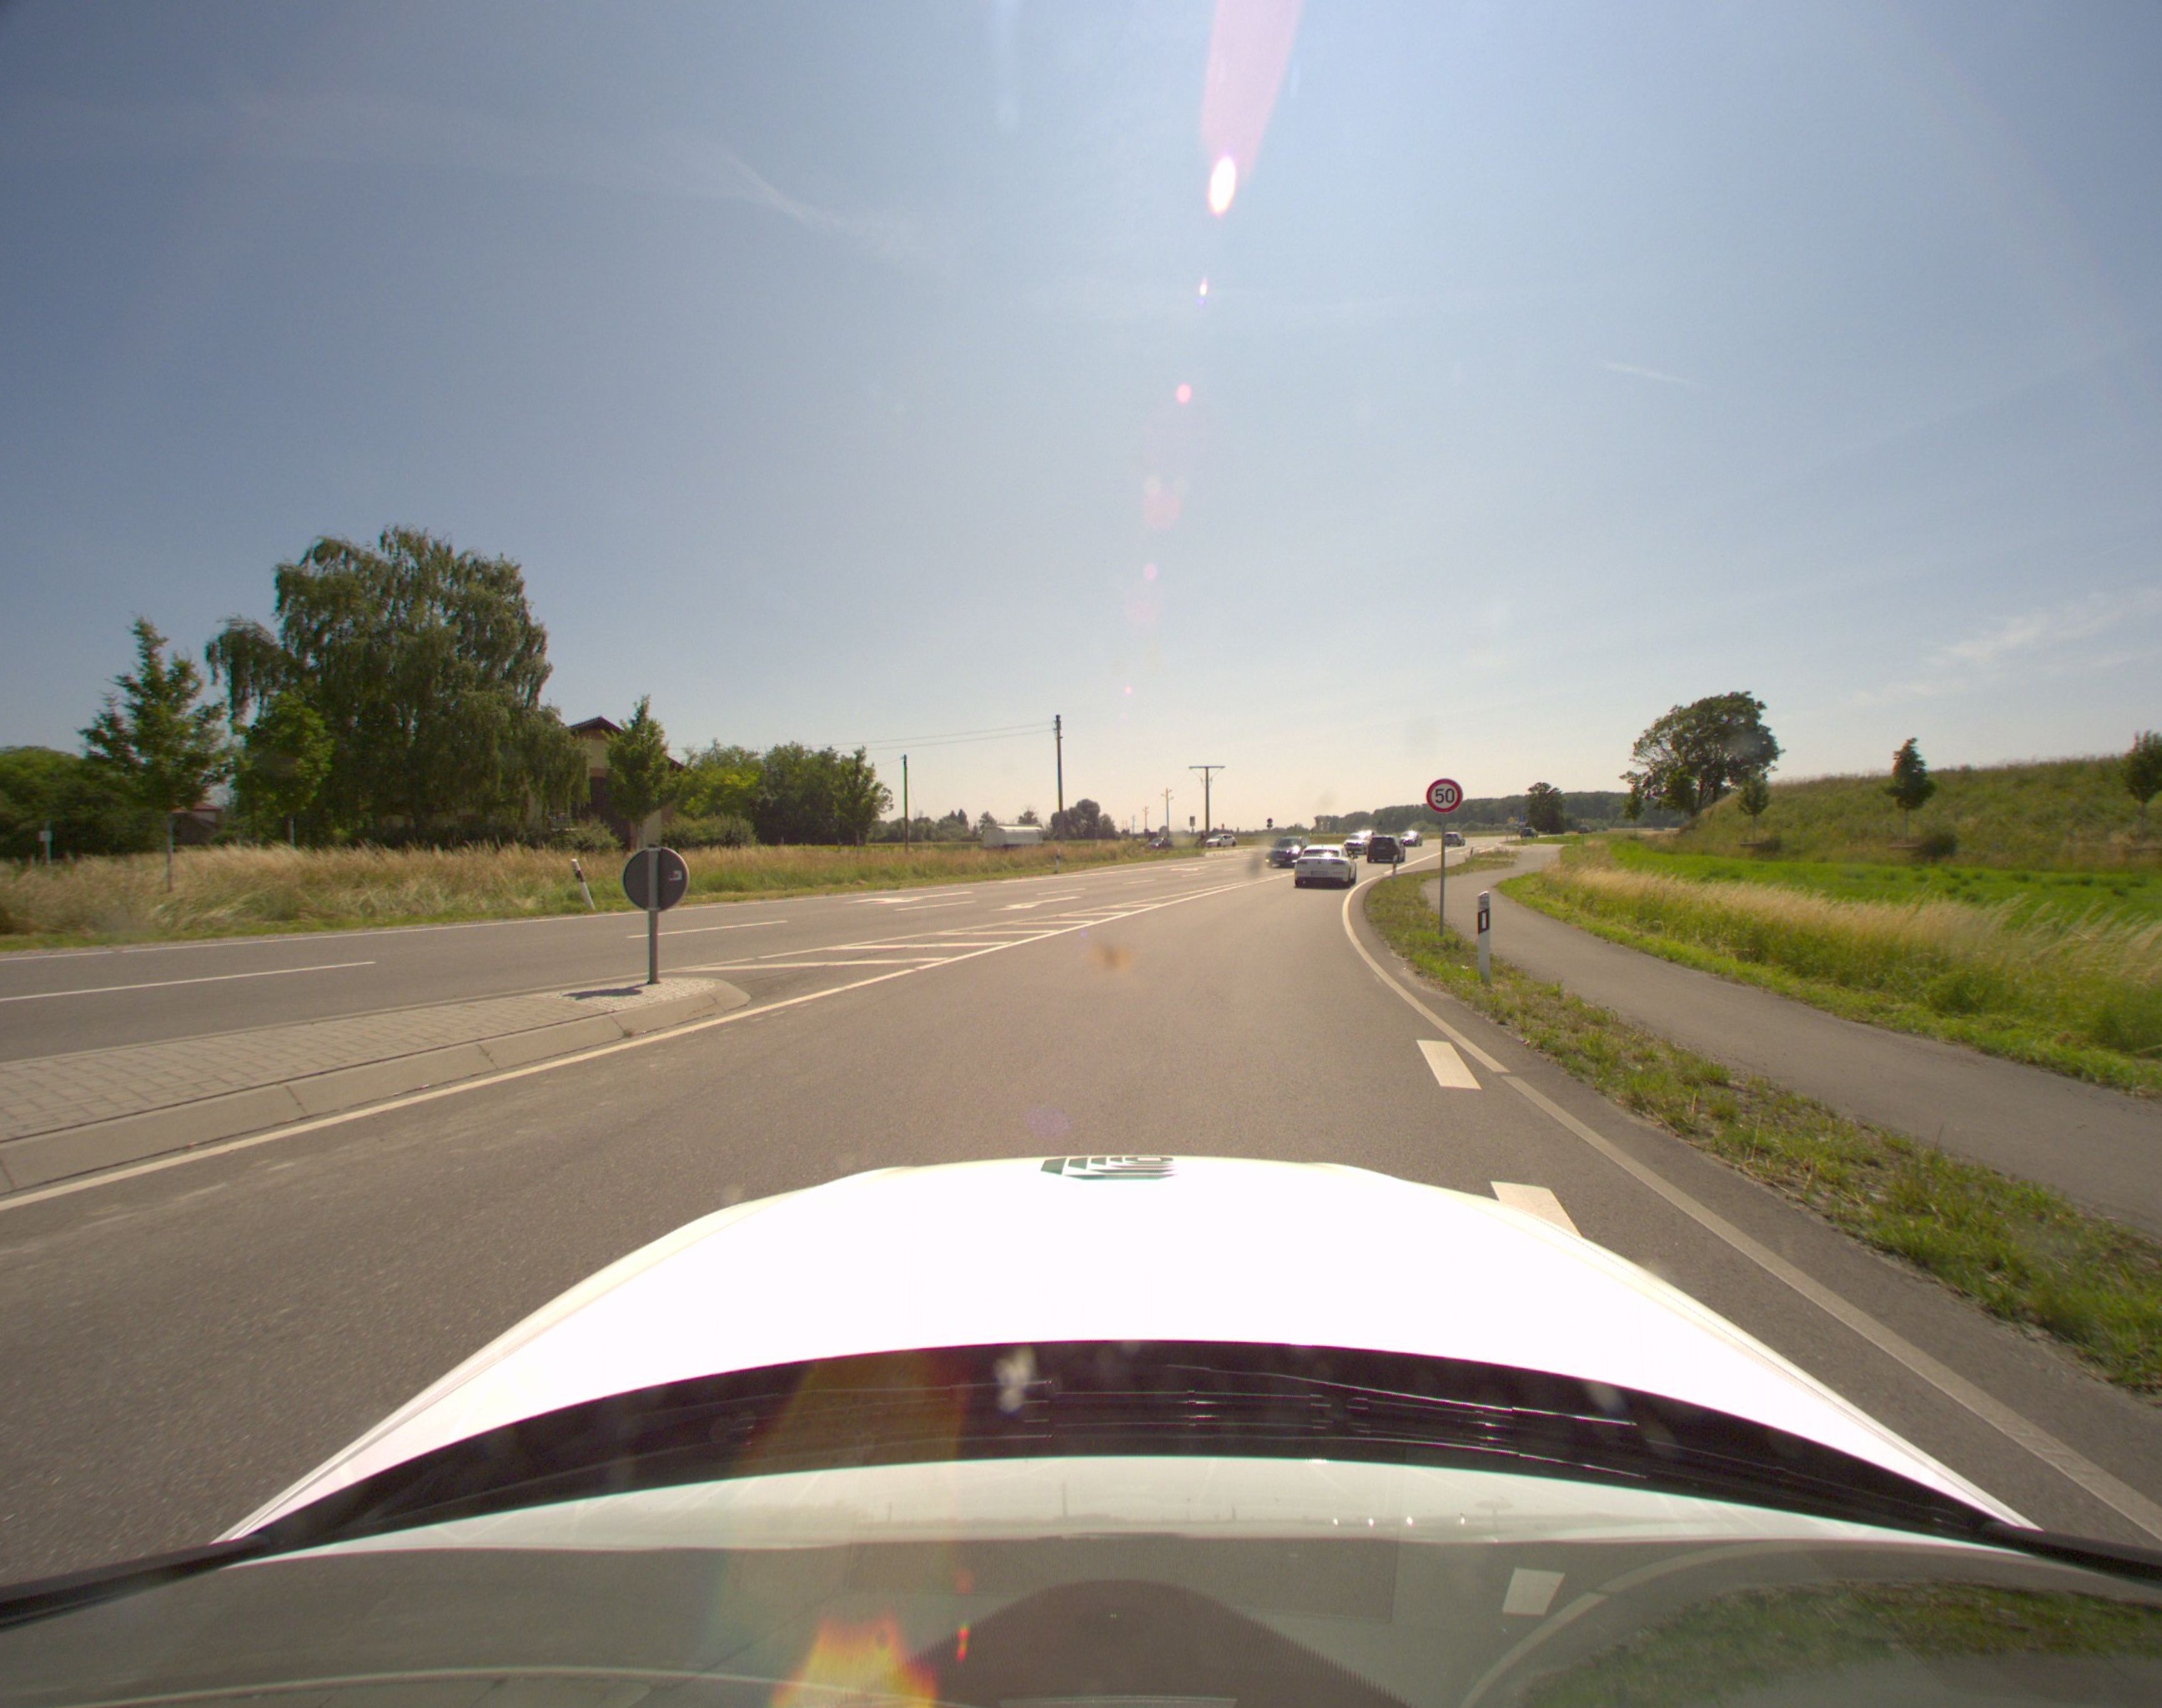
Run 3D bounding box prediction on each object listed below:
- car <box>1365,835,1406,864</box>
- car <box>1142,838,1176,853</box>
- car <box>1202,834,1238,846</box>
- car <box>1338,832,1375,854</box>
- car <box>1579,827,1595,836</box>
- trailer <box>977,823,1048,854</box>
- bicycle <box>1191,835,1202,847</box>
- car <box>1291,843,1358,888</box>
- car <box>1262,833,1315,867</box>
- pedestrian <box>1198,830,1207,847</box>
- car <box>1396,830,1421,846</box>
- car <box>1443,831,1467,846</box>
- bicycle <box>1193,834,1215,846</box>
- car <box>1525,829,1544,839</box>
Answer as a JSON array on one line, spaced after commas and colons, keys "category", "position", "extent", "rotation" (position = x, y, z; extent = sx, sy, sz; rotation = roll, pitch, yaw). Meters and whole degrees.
[{"category": "car", "position": [18.770, -0.258, 50.041], "extent": [1.917, 1.616, 4.404], "rotation": [-1, -1, 26]}, {"category": "car", "position": [7.999, -0.928, 83.163], "extent": [1.657, 1.387, 3.864], "rotation": [1, 3, 36]}, {"category": "car", "position": [16.141, -1.641, 94.531], "extent": [4.055, 1.332, 1.678], "rotation": [-1, 2, -36]}, {"category": "car", "position": [22.062, -0.917, 65.013], "extent": [1.860, 1.650, 4.874], "rotation": [1, 2, 30]}, {"category": "car", "position": [95.910, -4.299, 154.281], "extent": [1.782, 1.522, 3.906], "rotation": [-4, -1, 43]}, {"category": "trailer", "position": [-5.618, -1.345, 67.956], "extent": [2.652, 2.455, 6.424], "rotation": [1, 2, 32]}, {"category": "bicycle", "position": [12.250, -1.374, 86.427], "extent": [0.486, 1.248, 1.520], "rotation": [1, 1, 36]}, {"category": "car", "position": [8.690, 0.342, 28.810], "extent": [1.832, 1.433, 4.633], "rotation": [1, 1, 22]}, {"category": "car", "position": [11.169, -0.260, 43.680], "extent": [1.848, 1.650, 4.353], "rotation": [0, 2, 27]}, {"category": "pedestrian", "position": [12.943, -1.639, 86.429], "extent": [0.603, 1.785, 0.851], "rotation": [1, 1, 37]}, {"category": "car", "position": [34.194, -1.620, 84.936], "extent": [1.715, 1.556, 4.442], "rotation": [-1, -1, 31]}, {"category": "car", "position": [39.265, -1.618, 85.455], "extent": [1.782, 1.429, 4.118], "rotation": [-2, -2, 31]}, {"category": "bicycle", "position": [15.814, -1.768, 104.762], "extent": [2.588, 1.372, 0.906], "rotation": [-2, -2, 16]}, {"category": "car", "position": [67.855, -2.977, 121.845], "extent": [1.782, 1.476, 4.443], "rotation": [-2, -1, 37]}]
